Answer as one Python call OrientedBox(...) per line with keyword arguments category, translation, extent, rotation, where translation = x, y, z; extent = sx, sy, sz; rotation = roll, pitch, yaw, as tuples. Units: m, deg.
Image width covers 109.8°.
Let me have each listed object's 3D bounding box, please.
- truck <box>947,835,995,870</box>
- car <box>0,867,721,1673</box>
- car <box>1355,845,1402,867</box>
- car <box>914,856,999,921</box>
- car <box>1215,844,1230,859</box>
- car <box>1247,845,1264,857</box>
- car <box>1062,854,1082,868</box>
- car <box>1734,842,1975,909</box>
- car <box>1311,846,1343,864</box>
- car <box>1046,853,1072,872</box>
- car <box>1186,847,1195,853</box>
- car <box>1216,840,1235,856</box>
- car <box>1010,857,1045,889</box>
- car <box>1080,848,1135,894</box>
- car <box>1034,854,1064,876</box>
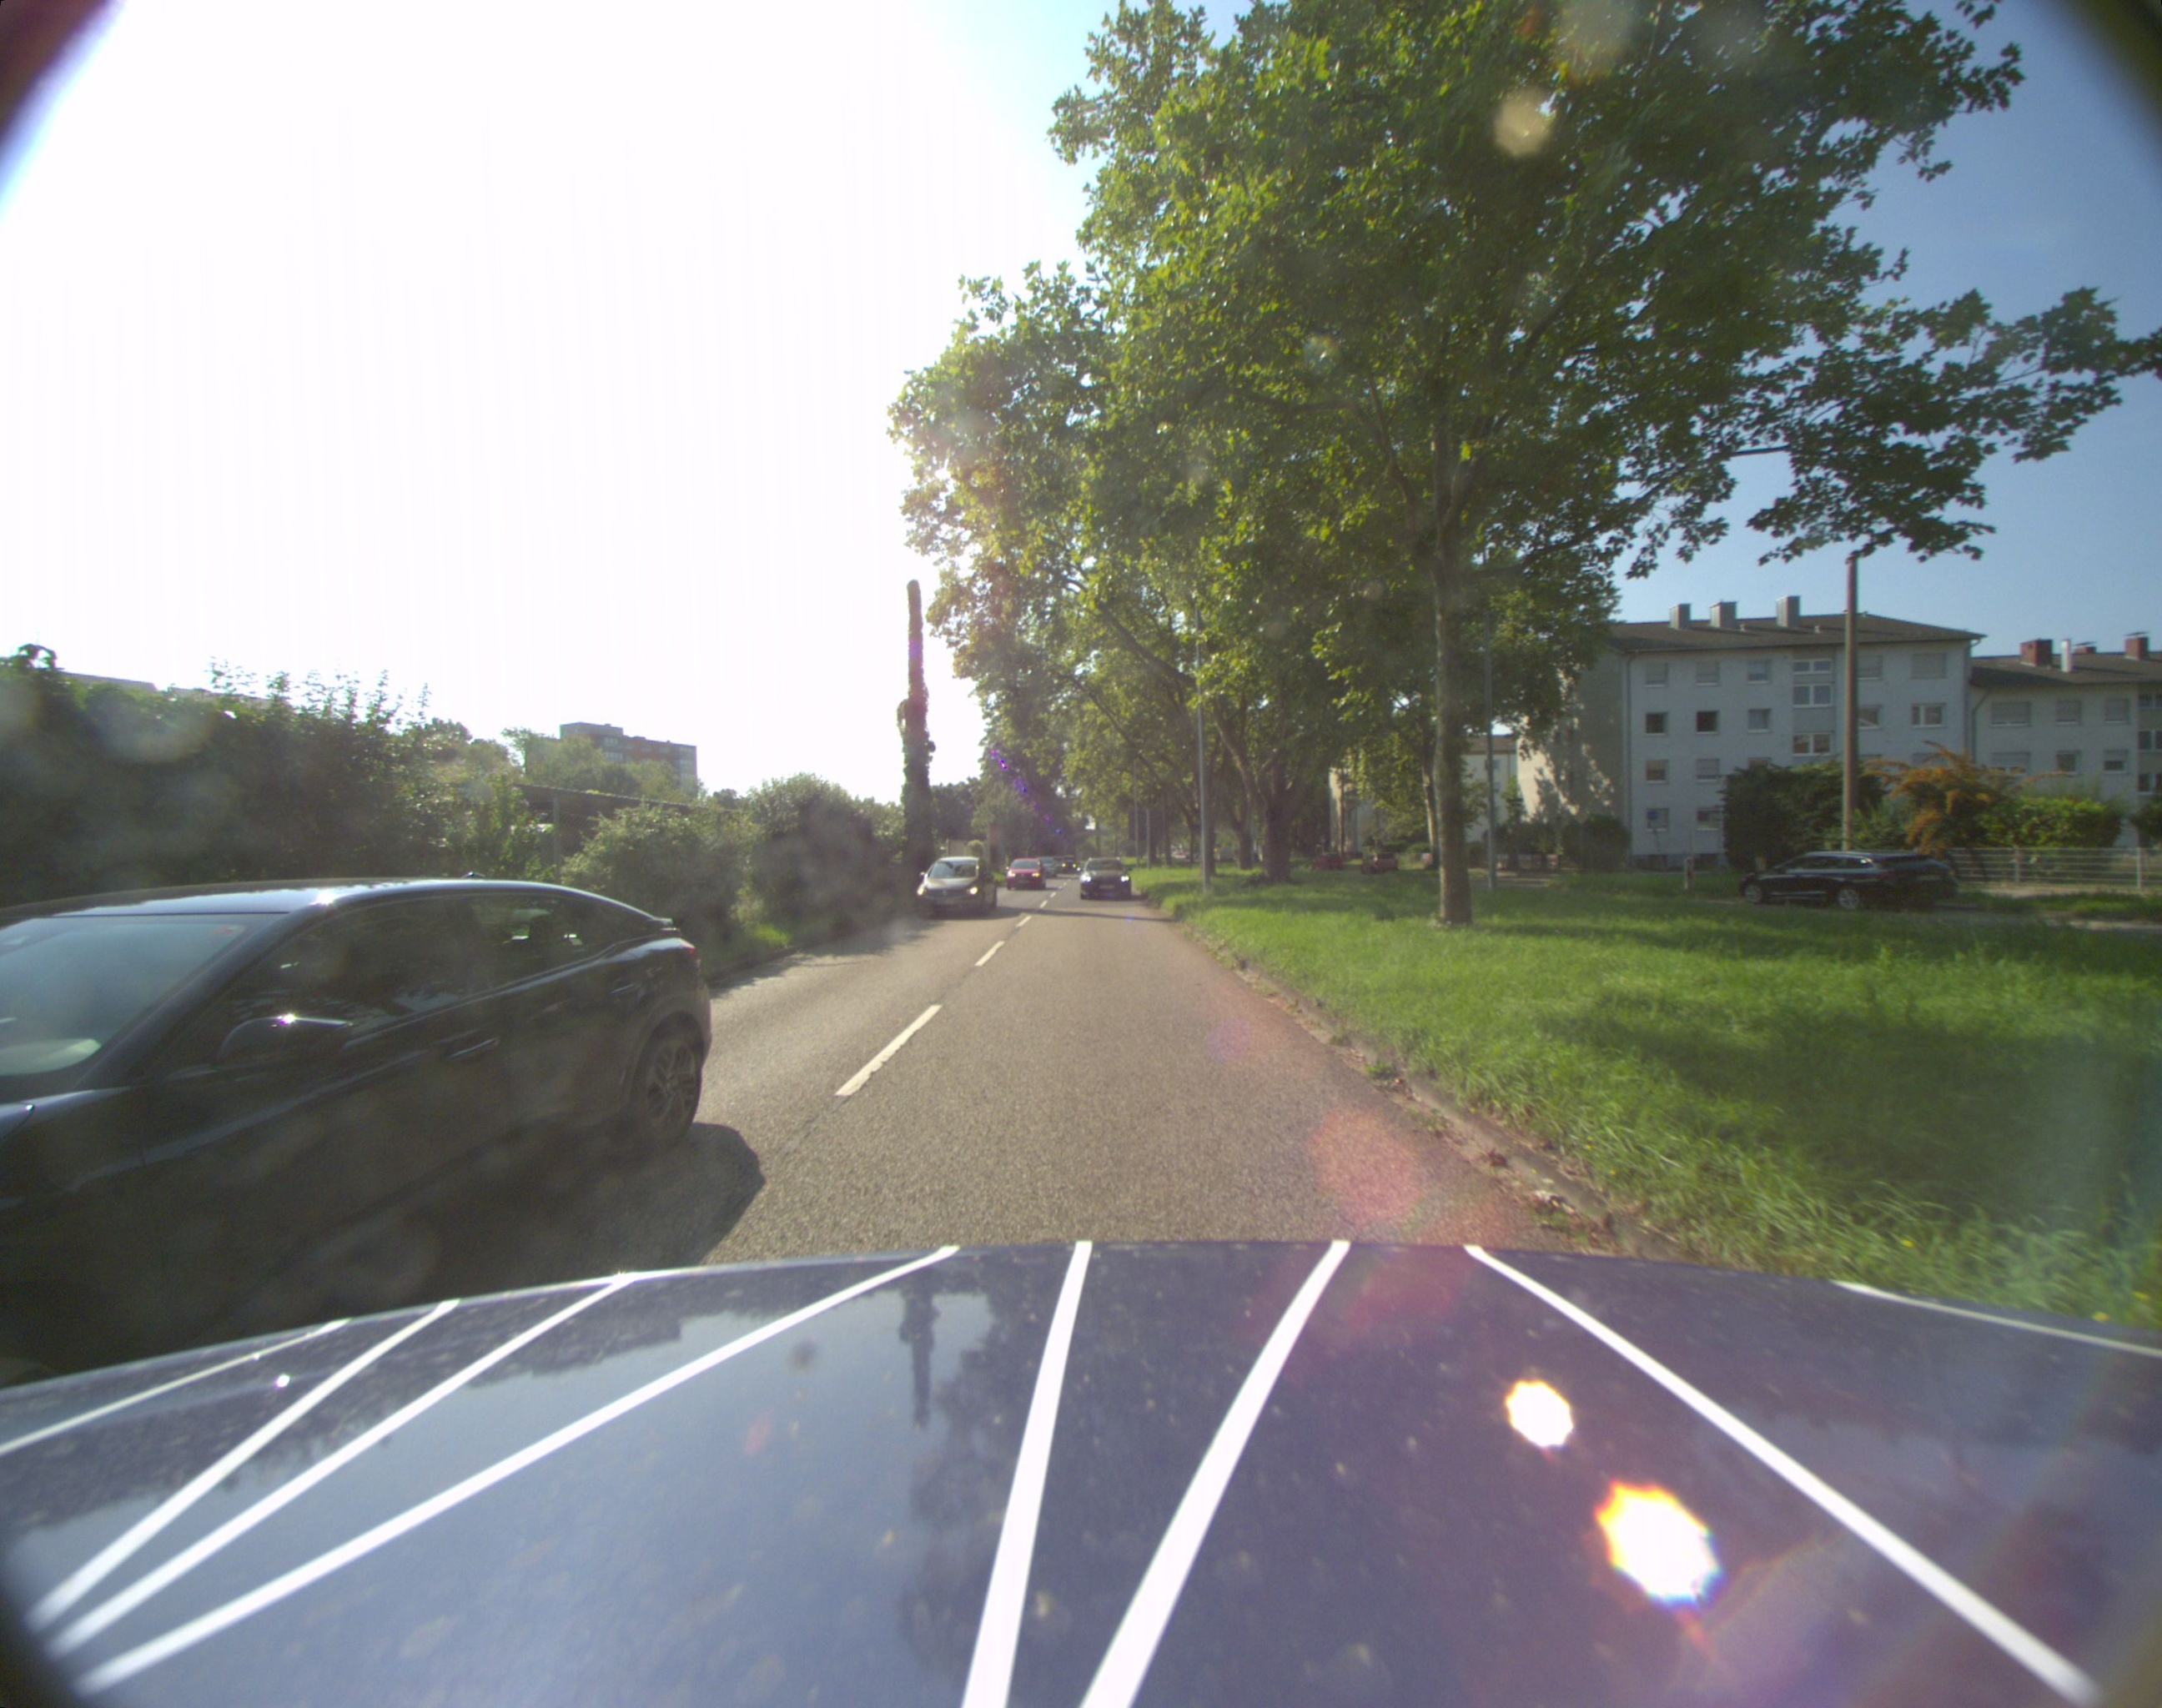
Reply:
OrientedBox(category="truck", translation=(-7.407, -0.127, 51.993), extent=(1.919, 2.220, 6.913), rotation=(-2, 1, 3))
OrientedBox(category="car", translation=(-3.068, 0.904, 2.540), extent=(1.649, 1.579, 4.254), rotation=(0, 1, 0))
OrientedBox(category="car", translation=(20.448, 0.124, 52.347), extent=(1.806, 1.421, 4.065), rotation=(-2, 0, 3))
OrientedBox(category="car", translation=(-3.336, 0.879, 21.078), extent=(1.649, 1.547, 3.898), rotation=(-1, 1, 1))
OrientedBox(category="car", translation=(25.079, -0.515, 134.593), extent=(2.212, 2.465, 6.063), rotation=(-1, 1, 6))
OrientedBox(category="car", translation=(22.859, -0.377, 99.678), extent=(1.526, 1.524, 3.863), rotation=(-1, 1, 2))
OrientedBox(category="car", translation=(-0.988, 0.768, 84.101), extent=(1.648, 1.378, 3.900), rotation=(-1, 1, 6))
OrientedBox(category="car", translation=(19.660, 0.480, 19.663), extent=(1.703, 1.499, 4.541), rotation=(-1, 0, 2))
OrientedBox(category="car", translation=(20.728, 0.064, 64.042), extent=(1.542, 1.443, 4.064), rotation=(-2, 1, 3))
OrientedBox(category="car", translation=(-1.876, 0.713, 66.039), extent=(1.648, 1.467, 3.900), rotation=(-1, 1, 6))
OrientedBox(category="car", translation=(30.573, -1.090, 212.154), extent=(1.806, 1.710, 4.720), rotation=(-1, 0, 3))
OrientedBox(category="car", translation=(24.022, -0.973, 126.494), extent=(2.212, 2.416, 6.266), rotation=(-4, 1, 4))
OrientedBox(category="car", translation=(-2.528, 0.890, 36.508), extent=(1.579, 1.390, 3.470), rotation=(0, 1, -3))
OrientedBox(category="car", translation=(0.931, 0.579, 28.024), extent=(1.862, 1.572, 3.612), rotation=(0, 0, 0))
OrientedBox(category="car", translation=(-2.316, 0.805, 55.983), extent=(1.648, 1.467, 3.900), rotation=(-1, 1, 5))
